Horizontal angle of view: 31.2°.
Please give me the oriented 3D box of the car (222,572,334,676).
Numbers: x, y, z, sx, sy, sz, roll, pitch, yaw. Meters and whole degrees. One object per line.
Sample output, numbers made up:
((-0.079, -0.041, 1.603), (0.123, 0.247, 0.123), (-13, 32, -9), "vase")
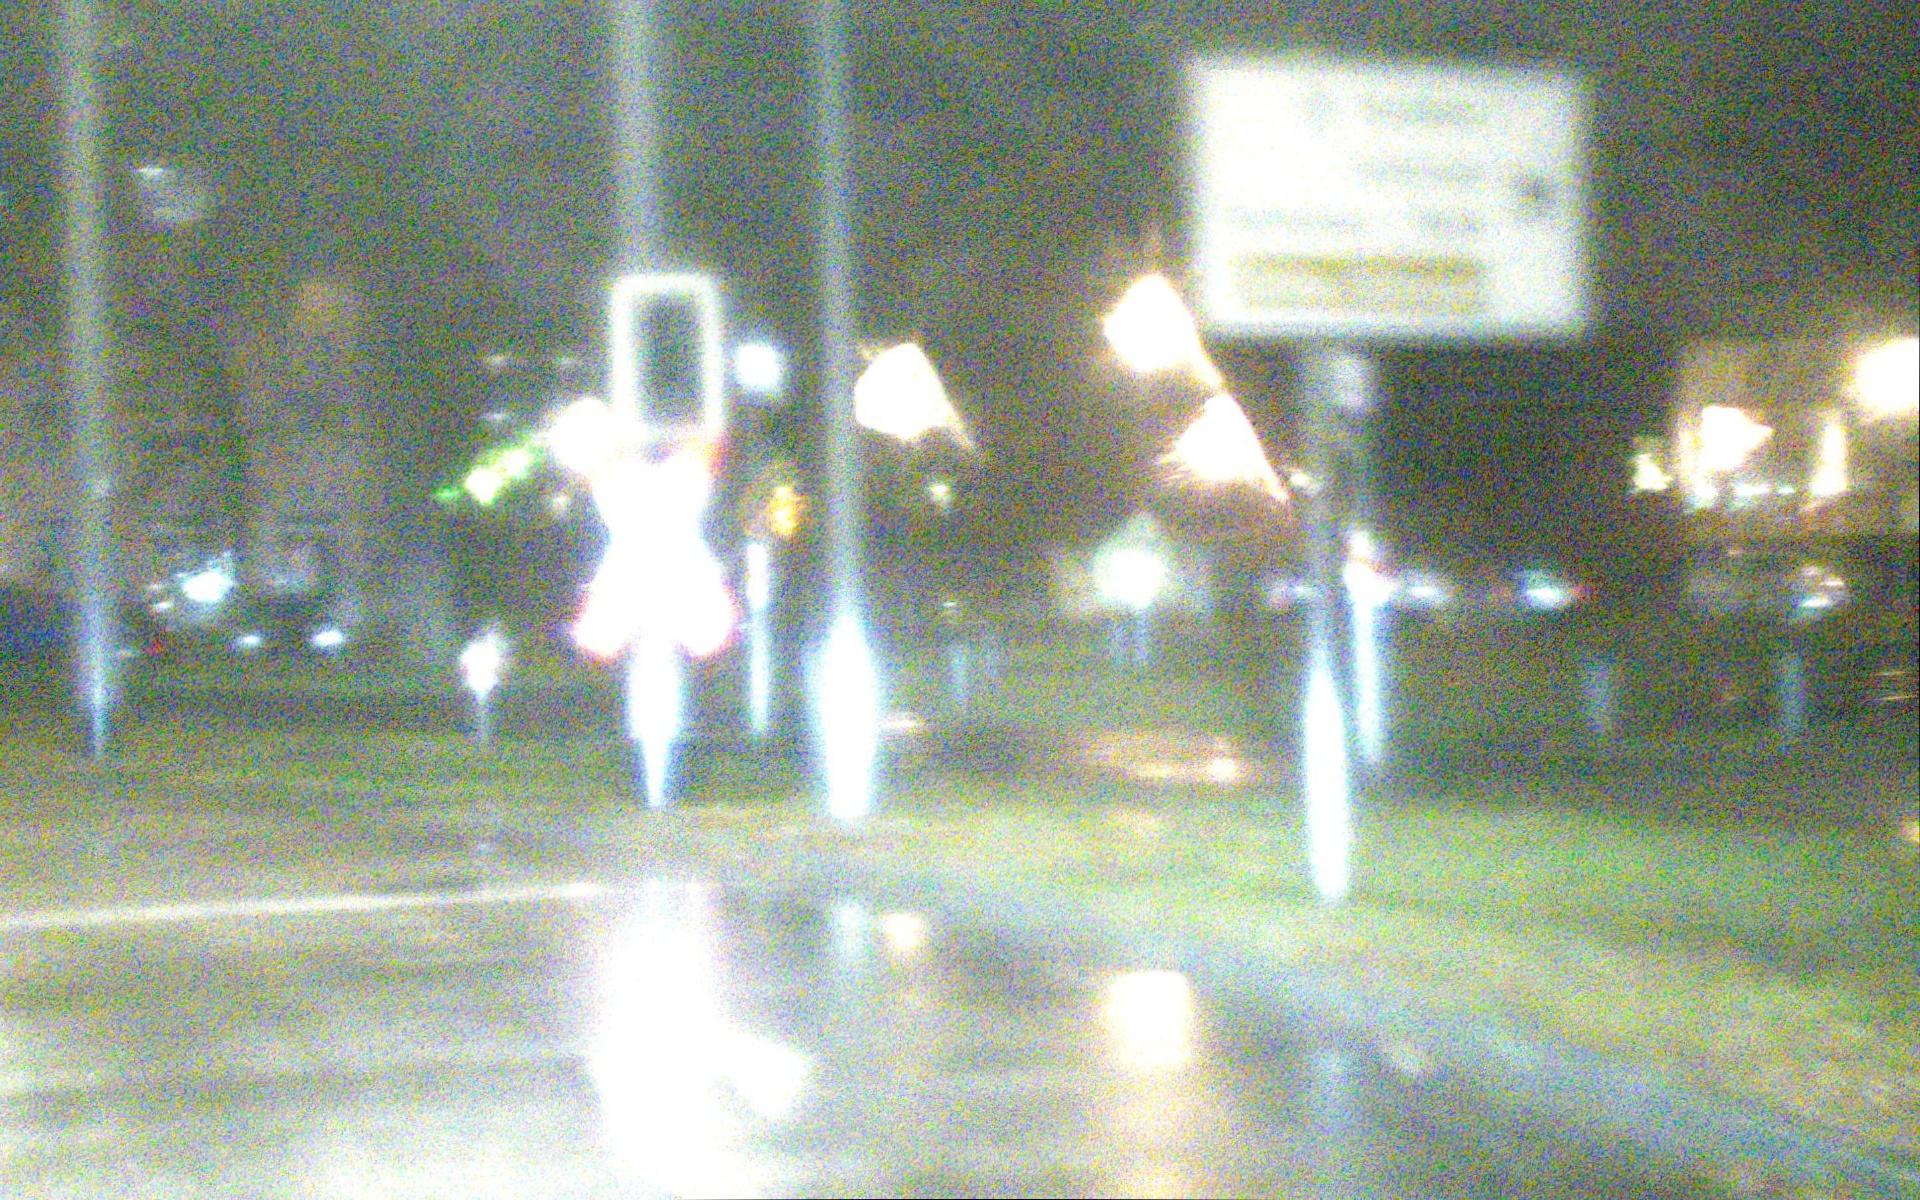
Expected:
((-11.529, 0.430, 57.951), (1.716, 1.492, 3.912), (-1, -3, -13), "car")

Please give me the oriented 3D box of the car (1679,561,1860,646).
((14.943, 0.075, 63.671), (1.716, 1.531, 3.913), (0, 0, -13), "car")

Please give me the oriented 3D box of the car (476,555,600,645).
((-7.277, 0.006, 59.004), (1.716, 1.492, 3.913), (0, 0, -13), "car")

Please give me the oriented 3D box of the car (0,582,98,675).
((-18.055, 0.528, 63.460), (4.053, 1.676, 1.793), (0, 0, -11), "car")

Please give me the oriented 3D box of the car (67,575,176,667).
((-14.099, 0.357, 57.957), (1.716, 1.492, 3.913), (0, 0, -13), "car")

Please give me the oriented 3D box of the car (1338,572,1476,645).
((9.672, 0.188, 74.573), (1.716, 1.531, 3.913), (0, 0, -13), "car")

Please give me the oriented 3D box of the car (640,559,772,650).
((-4.443, 0.085, 59.707), (1.716, 1.531, 3.913), (0, 0, -13), "car")

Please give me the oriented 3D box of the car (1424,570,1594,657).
((9.983, 0.256, 62.800), (1.716, 1.531, 3.913), (0, 0, -13), "car")
